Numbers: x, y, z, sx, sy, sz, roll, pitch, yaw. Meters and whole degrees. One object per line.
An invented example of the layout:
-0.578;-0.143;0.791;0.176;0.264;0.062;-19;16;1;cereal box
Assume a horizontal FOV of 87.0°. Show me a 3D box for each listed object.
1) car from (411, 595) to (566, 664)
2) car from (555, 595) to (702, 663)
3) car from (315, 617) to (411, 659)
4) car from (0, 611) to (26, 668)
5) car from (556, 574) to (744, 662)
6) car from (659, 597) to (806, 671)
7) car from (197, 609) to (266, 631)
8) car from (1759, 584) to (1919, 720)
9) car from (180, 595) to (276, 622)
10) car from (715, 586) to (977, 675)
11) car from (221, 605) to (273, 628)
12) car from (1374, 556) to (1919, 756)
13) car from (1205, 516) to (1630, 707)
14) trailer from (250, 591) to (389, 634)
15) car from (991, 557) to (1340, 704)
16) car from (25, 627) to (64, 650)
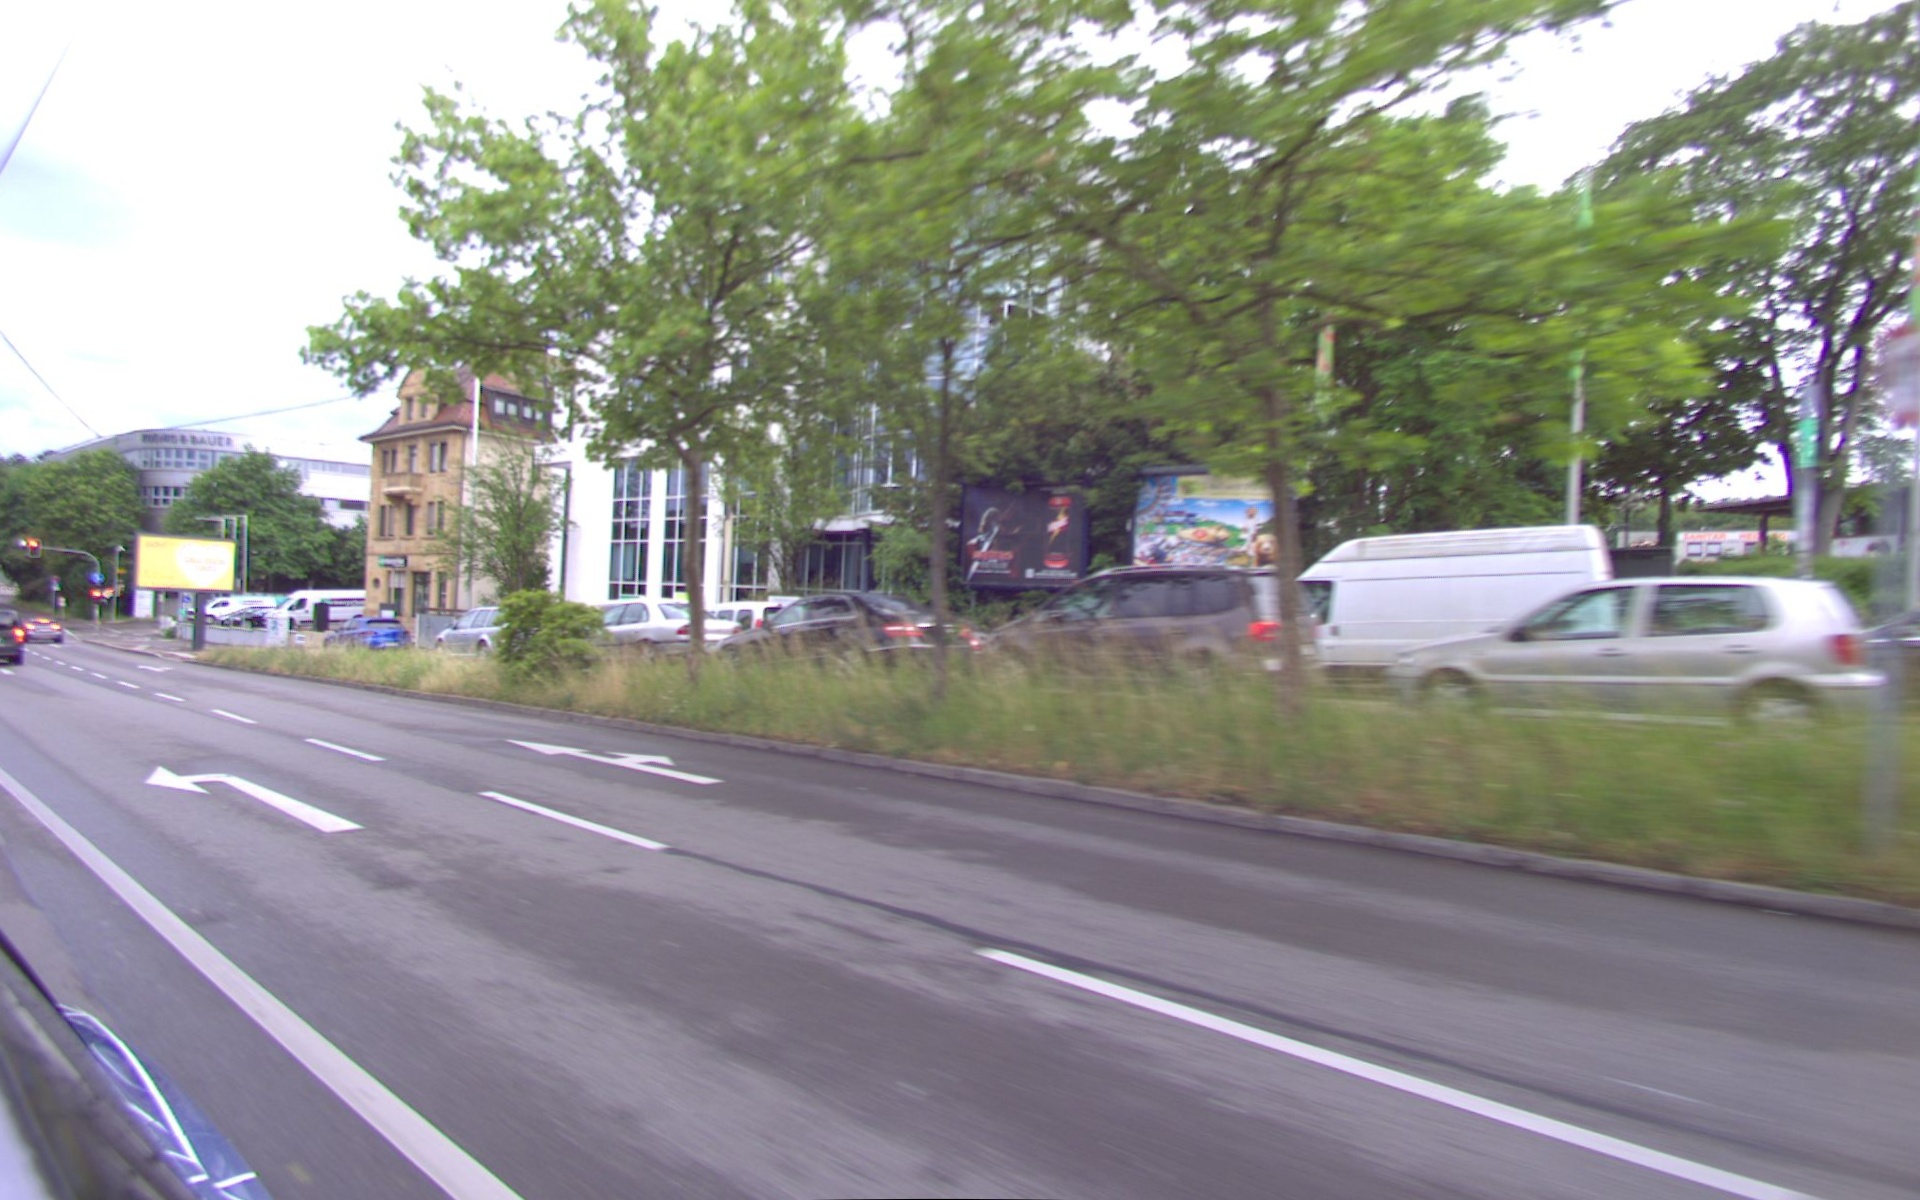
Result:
-11.165;0.723;23.826;4.441;1.489;1.630;-2;-4;41;car
-9.352;0.846;28.374;4.579;1.759;1.753;-2;-4;40;car
-23.033;1.480;38.995;4.667;1.546;1.671;-2;-4;40;car
-33.828;1.337;34.803;5.040;1.881;1.993;-1;-3;42;car
-6.124;0.401;19.810;3.988;1.552;1.576;-2;-4;40;car
-5.673;0.860;25.066;3.777;1.709;1.576;-2;-4;40;car
-49.632;1.328;68.996;1.741;1.379;3.573;1;1;42;car
11.608;0.635;11.638;3.664;1.479;1.826;2;-1;36;car
-54.285;0.666;75.168;2.215;1.815;5.310;2;-1;34;car
-1.876;0.477;15.789;4.217;1.214;1.680;-1;-3;41;car
-47.441;1.053;67.339;1.227;1.435;2.650;1;1;42;car
5.755;0.369;8.831;3.705;1.405;1.346;2;-1;40;car
6.830;0.254;15.567;5.646;2.462;1.944;-2;-4;37;car
-40.774;0.839;64.638;2.394;2.446;7.024;2;-1;40;trailer
2.321;0.282;11.875;3.643;1.463;1.637;2;-1;40;car
-53.492;2.250;59.148;2.452;1.232;1.362;2;-1;41;car
